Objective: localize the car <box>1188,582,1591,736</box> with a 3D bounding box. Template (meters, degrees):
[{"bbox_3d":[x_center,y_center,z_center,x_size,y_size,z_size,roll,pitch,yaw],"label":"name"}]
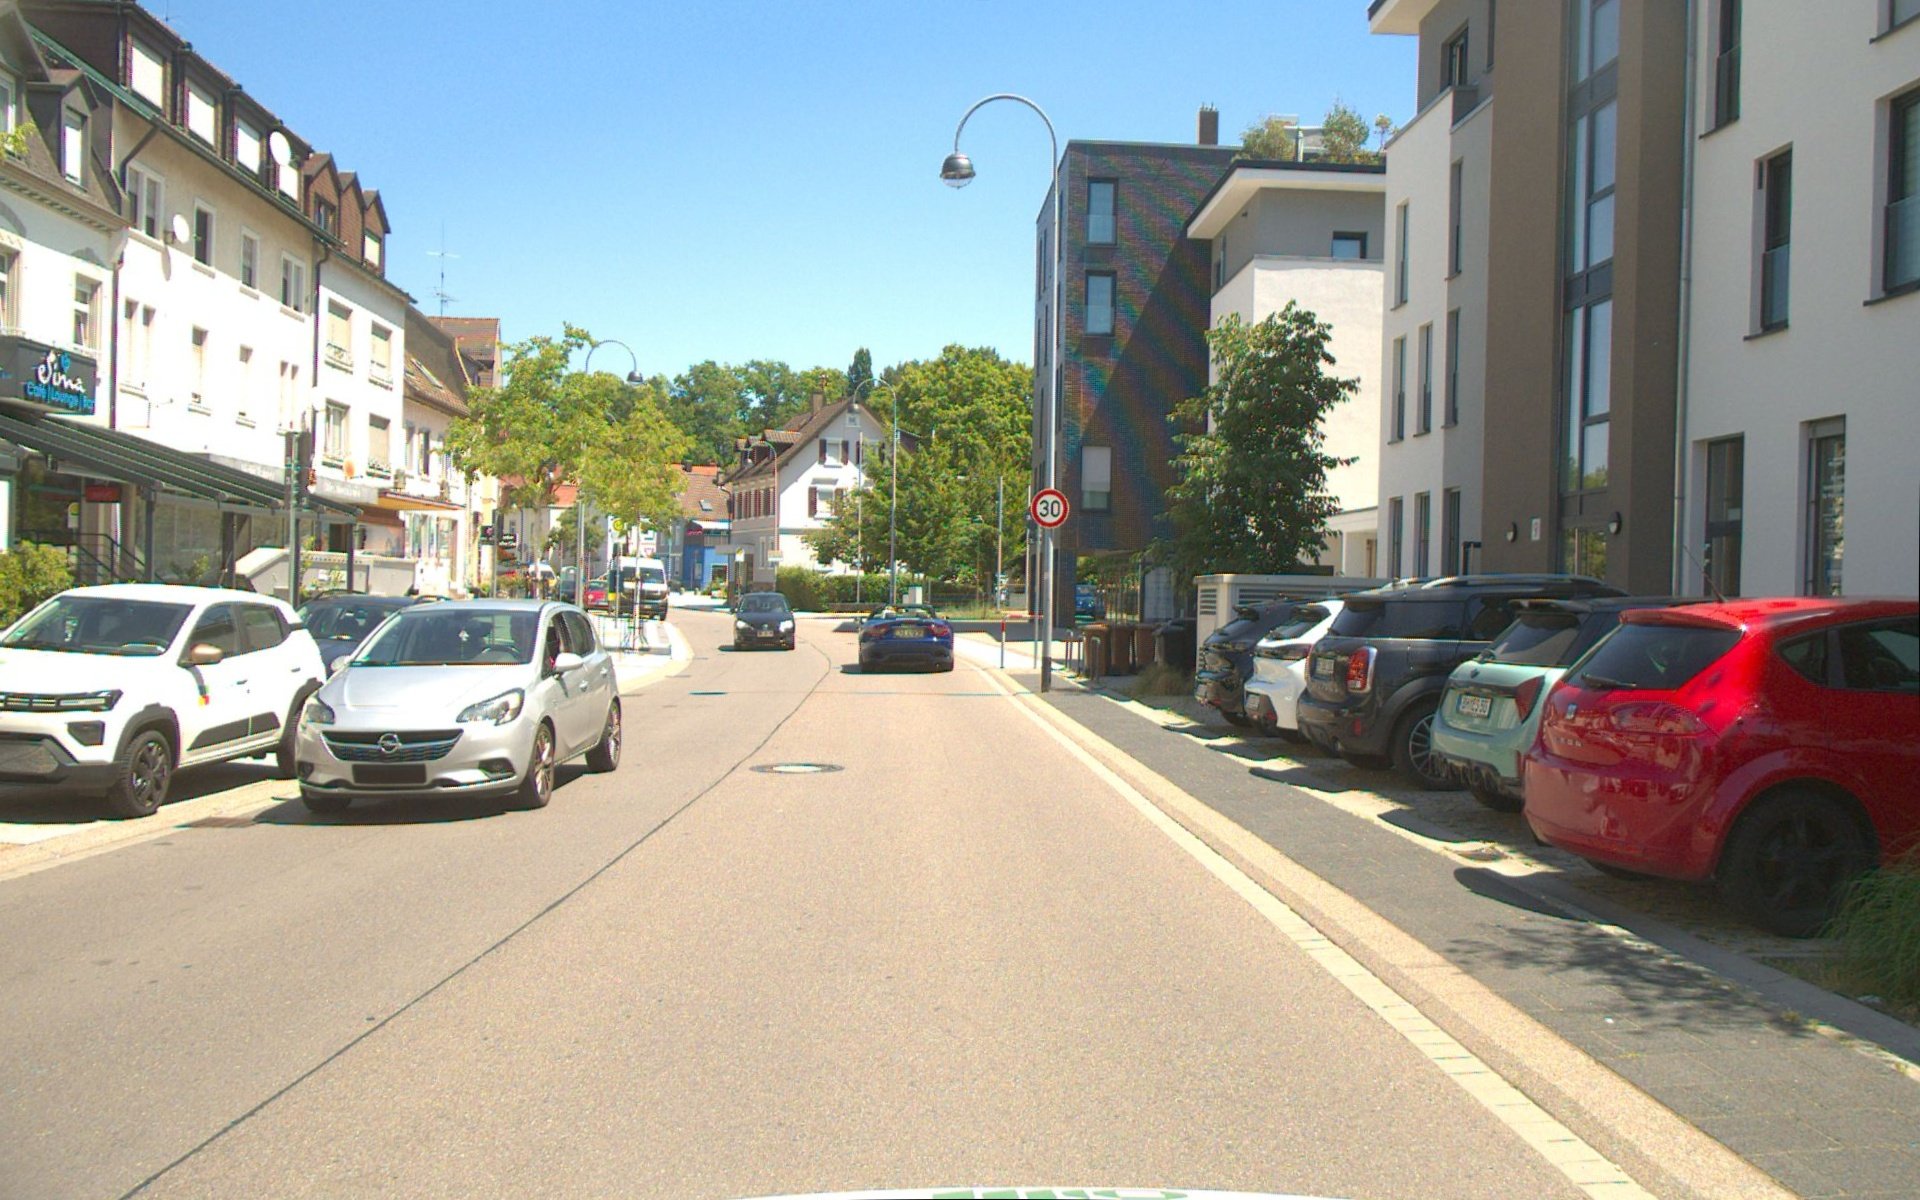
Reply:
[{"bbox_3d":[4.578,0.615,17.964,3.901,1.556,1.739,1,0,-3],"label":"car"}]

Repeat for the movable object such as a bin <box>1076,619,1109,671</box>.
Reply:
[{"bbox_3d":[2.457,0.834,30.735,0.526,0.945,0.623,-1,0,-1],"label":"movable object such as a bin"}]

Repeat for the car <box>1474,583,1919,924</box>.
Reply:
[{"bbox_3d":[4.744,0.642,8.035,3.891,1.433,1.855,0,0,-3],"label":"car"}]

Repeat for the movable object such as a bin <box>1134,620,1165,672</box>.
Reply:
[{"bbox_3d":[3.520,0.845,30.749,0.485,0.945,0.623,-1,0,-1],"label":"movable object such as a bin"}]

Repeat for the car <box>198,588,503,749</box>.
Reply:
[{"bbox_3d":[-6.195,0.626,17.302,1.635,1.469,4.010,1,0,1],"label":"car"}]

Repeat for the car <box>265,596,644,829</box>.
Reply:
[{"bbox_3d":[-3.700,0.733,12.872,1.652,1.484,4.058,-1,0,0],"label":"car"}]

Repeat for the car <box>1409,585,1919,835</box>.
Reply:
[{"bbox_3d":[5.115,0.667,10.724,3.901,1.457,1.762,1,0,-3],"label":"car"}]

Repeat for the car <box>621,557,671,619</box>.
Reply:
[{"bbox_3d":[-12.969,-0.490,68.115,1.834,2.442,4.802,1,0,-13],"label":"car"}]

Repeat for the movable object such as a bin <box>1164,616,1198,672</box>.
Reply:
[{"bbox_3d":[3.790,0.746,28.419,0.485,0.945,0.623,-1,0,-1],"label":"movable object such as a bin"}]

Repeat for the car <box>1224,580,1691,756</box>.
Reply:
[{"bbox_3d":[4.681,0.622,15.965,3.901,1.556,1.942,1,0,-3],"label":"car"}]

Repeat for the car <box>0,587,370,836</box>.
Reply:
[{"bbox_3d":[-6.069,0.690,12.418,1.610,1.505,3.942,2,0,3],"label":"car"}]

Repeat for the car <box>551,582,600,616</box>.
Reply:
[{"bbox_3d":[-20.570,-0.049,88.333,1.965,1.722,3.975,1,0,-21],"label":"car"}]

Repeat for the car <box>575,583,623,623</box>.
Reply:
[{"bbox_3d":[-16.744,0.138,76.580,1.960,1.769,3.984,0,0,-15],"label":"car"}]

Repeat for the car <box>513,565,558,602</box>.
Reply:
[{"bbox_3d":[-28.475,-1.116,110.948,1.845,2.442,4.774,1,0,-28],"label":"car"}]

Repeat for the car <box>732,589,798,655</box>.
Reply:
[{"bbox_3d":[-5.243,0.562,44.280,1.629,1.634,3.993,-1,0,-8],"label":"car"}]

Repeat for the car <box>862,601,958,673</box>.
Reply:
[{"bbox_3d":[-1.029,0.715,34.249,1.833,1.365,4.594,-1,0,-2],"label":"car"}]

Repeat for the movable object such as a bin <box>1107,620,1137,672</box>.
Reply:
[{"bbox_3d":[3.008,0.849,30.728,0.485,0.945,0.623,-1,0,-1],"label":"movable object such as a bin"}]

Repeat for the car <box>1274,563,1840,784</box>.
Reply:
[{"bbox_3d":[4.718,0.567,13.482,3.901,1.633,1.942,1,0,-3],"label":"car"}]

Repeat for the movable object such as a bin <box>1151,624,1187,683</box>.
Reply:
[{"bbox_3d":[3.455,0.874,27.375,0.485,0.945,0.623,-1,0,-1],"label":"movable object such as a bin"}]
